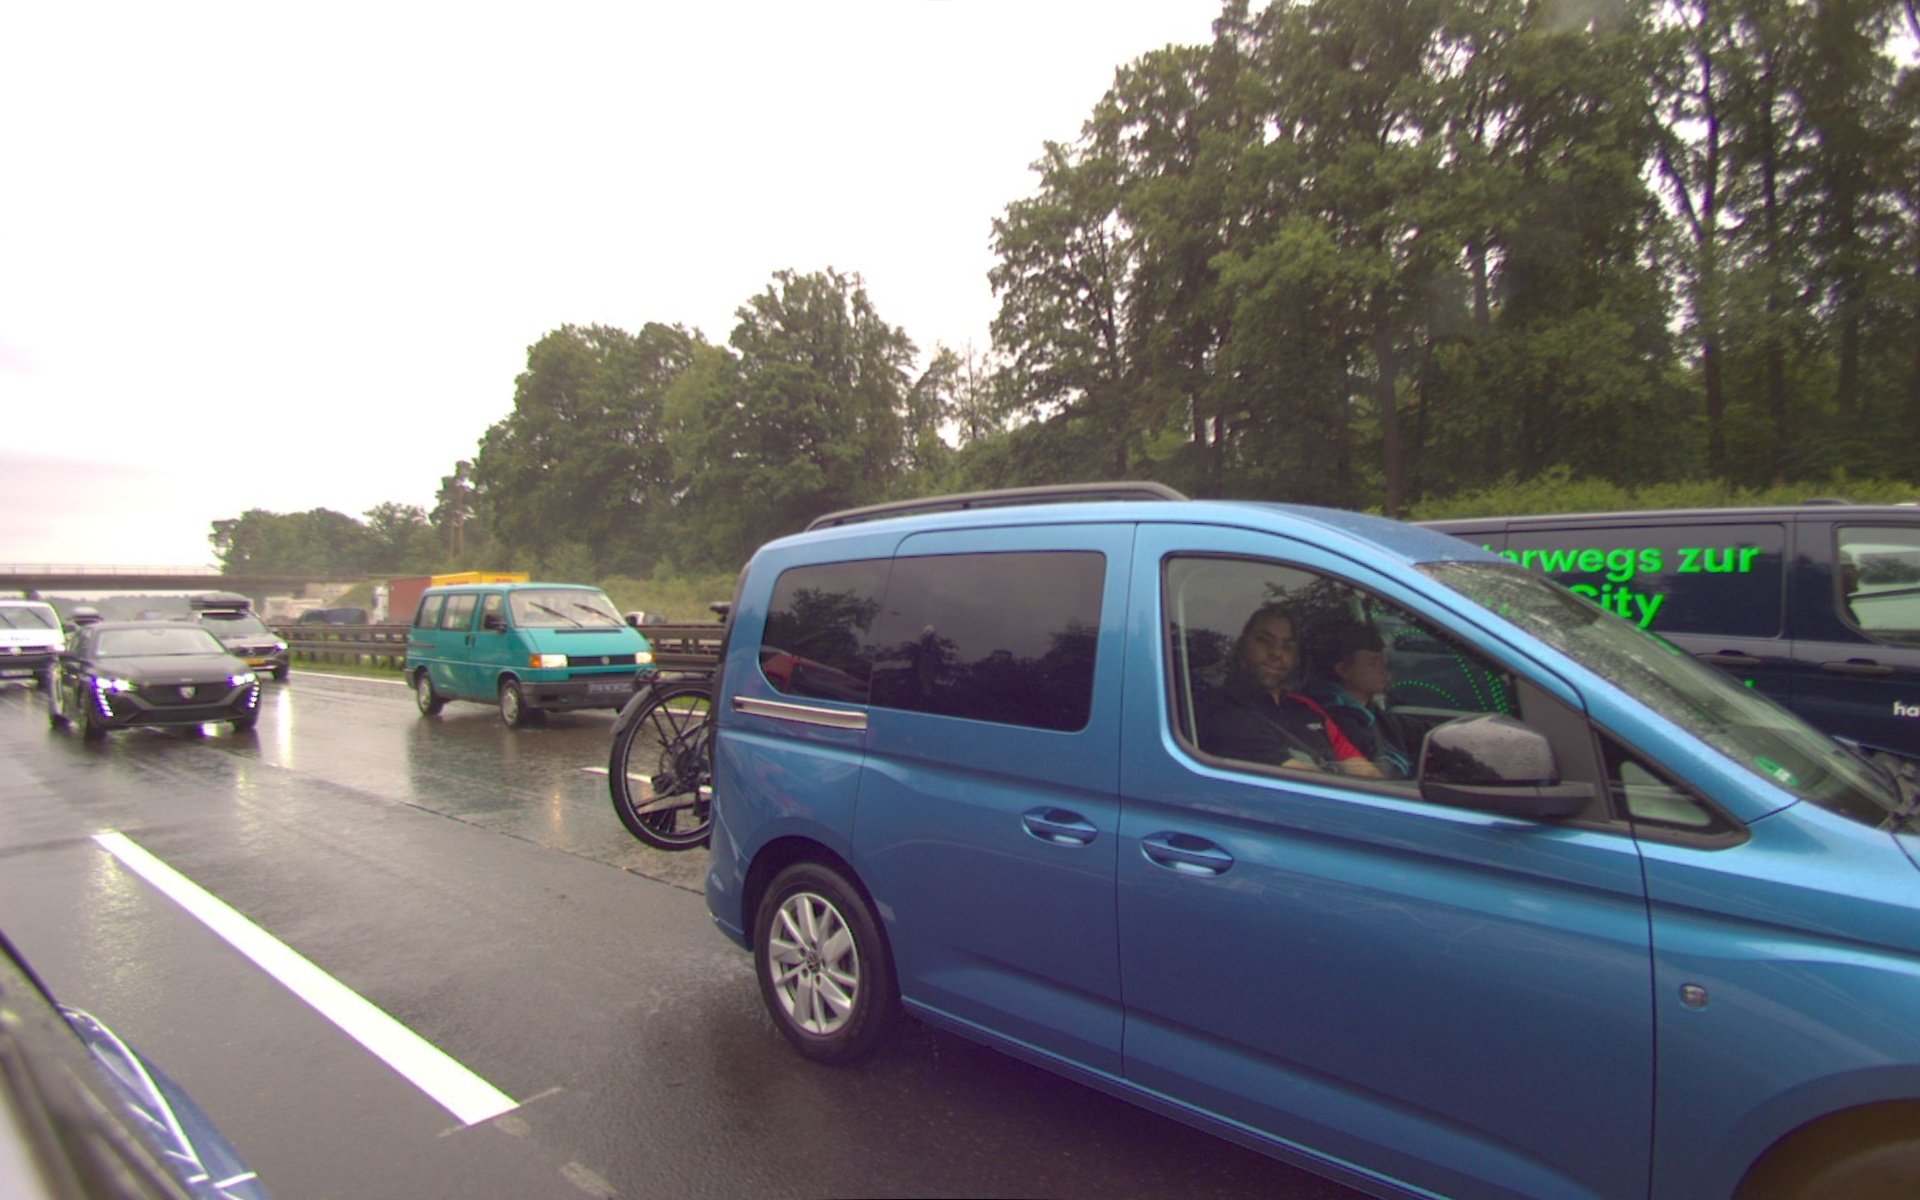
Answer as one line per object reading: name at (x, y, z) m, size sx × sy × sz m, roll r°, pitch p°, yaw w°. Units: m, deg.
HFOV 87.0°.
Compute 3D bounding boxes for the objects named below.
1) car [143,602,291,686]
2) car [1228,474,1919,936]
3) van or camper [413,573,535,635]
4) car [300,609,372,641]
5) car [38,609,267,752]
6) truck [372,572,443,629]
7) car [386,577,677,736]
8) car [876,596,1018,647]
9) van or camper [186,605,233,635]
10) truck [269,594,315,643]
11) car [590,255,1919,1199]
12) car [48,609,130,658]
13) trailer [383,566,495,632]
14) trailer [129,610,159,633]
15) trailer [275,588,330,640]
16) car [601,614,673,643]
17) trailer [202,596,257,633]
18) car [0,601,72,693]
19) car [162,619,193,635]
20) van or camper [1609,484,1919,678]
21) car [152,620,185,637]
car at (-18.196, 1.017, 24.714) m, size 4.604 × 1.839 × 1.956 m, roll -1°, pitch 0°, yaw 41°
car at (4.312, 0.445, 5.383) m, size 5.240 × 1.958 × 1.971 m, roll -1°, pitch 0°, yaw 41°
van or camper at (-25.523, 0.274, 52.894) m, size 8.788 × 3.001 × 2.810 m, roll -1°, pitch -1°, yaw 44°
car at (-27.972, 1.127, 45.314) m, size 4.001 × 1.355 × 1.782 m, roll -2°, pitch -1°, yaw 44°
car at (-10.787, 0.916, 13.384) m, size 4.468 × 1.516 × 1.825 m, roll -1°, pitch 1°, yaw 45°
truck at (-39.197, 0.098, 71.688) m, size 6.265 × 3.847 × 2.674 m, roll -2°, pitch -1°, yaw 44°
car at (-6.165, 0.697, 14.281) m, size 4.757 × 1.877 × 1.890 m, roll -1°, pitch 0°, yaw 41°
car at (-0.416, 0.631, 29.276) m, size 4.001 × 1.355 × 1.782 m, roll -2°, pitch -1°, yaw 44°
van or camper at (-58.740, 1.543, 79.157) m, size 4.874 × 2.268 × 2.204 m, roll -1°, pitch 0°, yaw 44°
truck at (-56.651, 1.567, 85.752) m, size 2.348 × 3.984 × 6.545 m, roll 1°, pitch -2°, yaw -42°
car at (1.148, 0.482, 3.217) m, size 5.013 × 1.926 × 2.246 m, roll -2°, pitch -1°, yaw 41°
car at (-35.320, 1.331, 40.982) m, size 4.605 × 1.839 × 1.956 m, roll -1°, pitch 0°, yaw 42°
trailer at (-35.031, 0.006, 67.677) m, size 12.374 × 4.056 × 2.590 m, roll -1°, pitch 0°, yaw 43°
trailer at (-144.605, 3.798, 179.296) m, size 2.989 × 3.847 × 13.572 m, roll 0°, pitch -1°, yaw -43°
trailer at (-53.484, 1.185, 82.212) m, size 2.348 × 3.984 × 9.434 m, roll 1°, pitch -2°, yaw -42°
car at (-16.338, 1.431, 51.141) m, size 4.001 × 1.355 × 1.782 m, roll -2°, pitch -1°, yaw 44°
trailer at (-83.041, 1.758, 114.924) m, size 13.964 × 3.984 × 2.689 m, roll -1°, pitch -2°, yaw 44°
car at (-21.683, 1.044, 22.962) m, size 4.769 × 1.894 × 1.967 m, roll -2°, pitch -1°, yaw 44°
car at (-89.438, 3.076, 115.679) m, size 5.039 × 1.783 × 1.972 m, roll -2°, pitch -2°, yaw 43°
van or camper at (15.068, -0.299, 15.848) m, size 7.998 × 2.892 × 2.144 m, roll -1°, pitch -1°, yaw 41°
car at (-89.426, 3.200, 114.297) m, size 5.220 × 1.839 × 1.956 m, roll -1°, pitch 0°, yaw 41°
